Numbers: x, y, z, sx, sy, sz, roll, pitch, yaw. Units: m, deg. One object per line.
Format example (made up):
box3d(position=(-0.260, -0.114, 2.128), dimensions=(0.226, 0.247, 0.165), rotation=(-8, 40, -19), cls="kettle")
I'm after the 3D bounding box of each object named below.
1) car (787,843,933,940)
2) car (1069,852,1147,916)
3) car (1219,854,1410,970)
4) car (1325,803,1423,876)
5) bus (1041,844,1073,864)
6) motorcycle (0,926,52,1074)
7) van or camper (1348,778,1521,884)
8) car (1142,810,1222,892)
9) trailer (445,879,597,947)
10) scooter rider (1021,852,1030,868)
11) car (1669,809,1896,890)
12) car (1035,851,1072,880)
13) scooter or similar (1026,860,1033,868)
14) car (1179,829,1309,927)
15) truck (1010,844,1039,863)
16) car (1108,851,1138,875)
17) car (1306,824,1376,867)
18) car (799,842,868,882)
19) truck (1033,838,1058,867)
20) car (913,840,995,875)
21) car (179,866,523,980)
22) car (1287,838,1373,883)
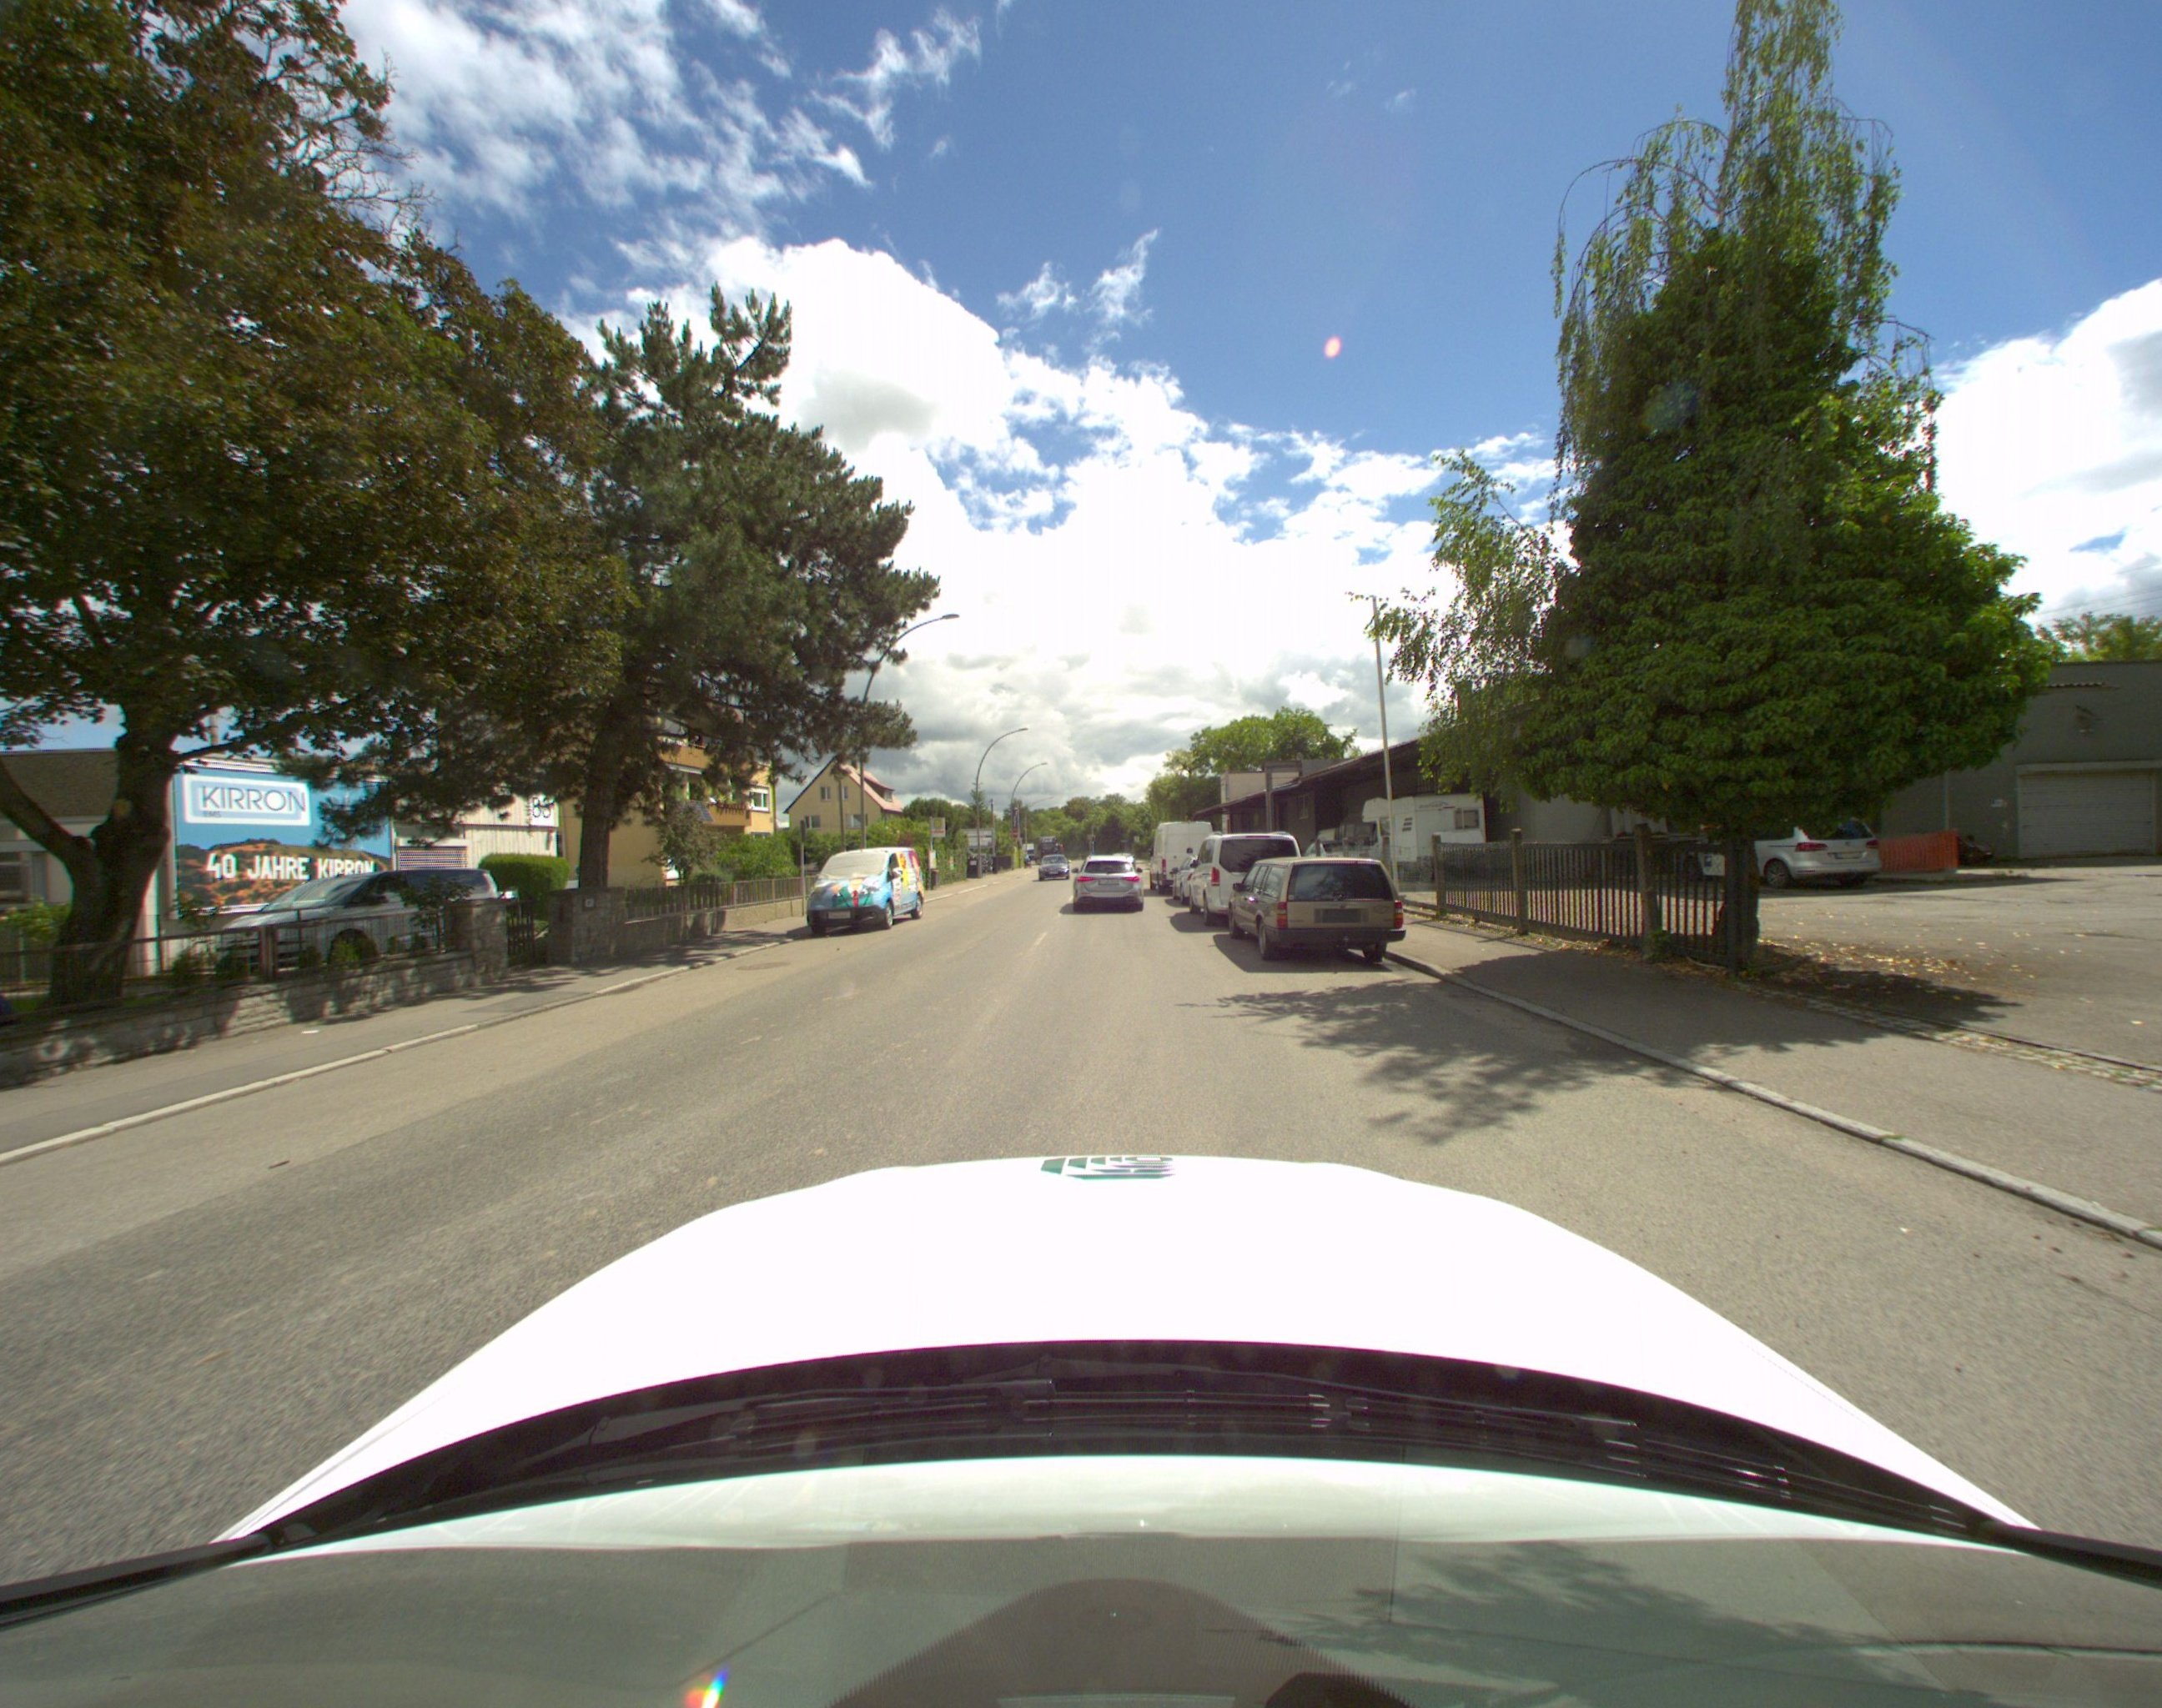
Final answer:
box3d(position=(-5.044, 0.751, 19.400), dimensions=(1.826, 1.853, 4.898), rotation=(-5, 1, 2), cls="car")
box3d(position=(0.745, 0.739, 22.101), dimensions=(1.877, 1.508, 4.002), rotation=(-2, 0, 2), cls="car")
box3d(position=(3.386, 0.733, 12.839), dimensions=(1.748, 1.450, 4.996), rotation=(0, 0, 2), cls="car")
box3d(position=(11.989, -0.615, 33.773), dimensions=(2.011, 2.681, 5.498), rotation=(-2, 1, 0), cls="car")
box3d(position=(-4.491, -0.001, 146.934), dimensions=(2.783, 3.266, 12.058), rotation=(-3, 0, -15), cls="bus")
box3d(position=(-9.651, 1.226, 6.707), dimensions=(1.855, 1.165, 0.828), rotation=(-2, 0, 18), cls="motorcycle")
box3d(position=(11.684, -0.688, 27.752), dimensions=(2.871, 3.060, 6.913), rotation=(-2, 0, 0), cls="van or camper")
box3d(position=(3.697, -0.110, 31.186), dimensions=(2.207, 2.689, 6.658), rotation=(-3, 0, 1), cls="car")
box3d(position=(-21.811, 2.270, 31.907), dimensions=(3.976, 1.884, 2.459), rotation=(-8, 1, -1), cls="trailer")
box3d(position=(-5.849, 0.639, 85.582), dimensions=(0.875, 1.589, 0.796), rotation=(-2, 0, 2), cls="scooter rider")
box3d(position=(17.432, -0.175, 20.631), dimensions=(1.810, 1.751, 4.817), rotation=(-2, 2, 3), cls="car")
box3d(position=(-1.588, 0.642, 47.930), dimensions=(1.894, 1.518, 4.319), rotation=(-3, 0, 1), cls="car")
box3d(position=(-5.367, 1.022, 85.106), dimensions=(0.609, 0.831, 0.659), rotation=(0, 0, 2), cls="scooter or similar")
box3d(position=(3.460, 0.455, 18.350), dimensions=(1.899, 1.885, 5.390), rotation=(0, 0, 1), cls="car")
box3d(position=(-11.529, -0.052, 165.795), dimensions=(2.852, 3.540, 9.650), rotation=(-2, 0, -23), cls="truck")
box3d(position=(2.789, 0.569, 54.656), dimensions=(1.877, 1.508, 4.002), rotation=(-2, 0, 2), cls="car")
box3d(position=(12.857, -0.435, 40.617), dimensions=(1.986, 1.910, 4.855), rotation=(-2, 1, 2), cls="car")
box3d(position=(-17.272, 0.544, 57.242), dimensions=(2.401, 2.495, 6.143), rotation=(-4, 0, 5), cls="car")
box3d(position=(-5.189, -0.183, 118.174), dimensions=(2.429, 4.131, 9.118), rotation=(0, 0, -10), cls="truck")
box3d(position=(-9.997, 0.278, 64.532), dimensions=(6.015, 2.496, 2.478), rotation=(-2, 0, 1), cls="car")
box3d(position=(-14.679, 1.246, 17.010), dimensions=(2.072, 1.830, 5.481), rotation=(-3, 0, 1), cls="car")
box3d(position=(9.015, 0.182, 29.909), dimensions=(1.758, 1.489, 4.928), rotation=(-2, 1, 2), cls="car")
